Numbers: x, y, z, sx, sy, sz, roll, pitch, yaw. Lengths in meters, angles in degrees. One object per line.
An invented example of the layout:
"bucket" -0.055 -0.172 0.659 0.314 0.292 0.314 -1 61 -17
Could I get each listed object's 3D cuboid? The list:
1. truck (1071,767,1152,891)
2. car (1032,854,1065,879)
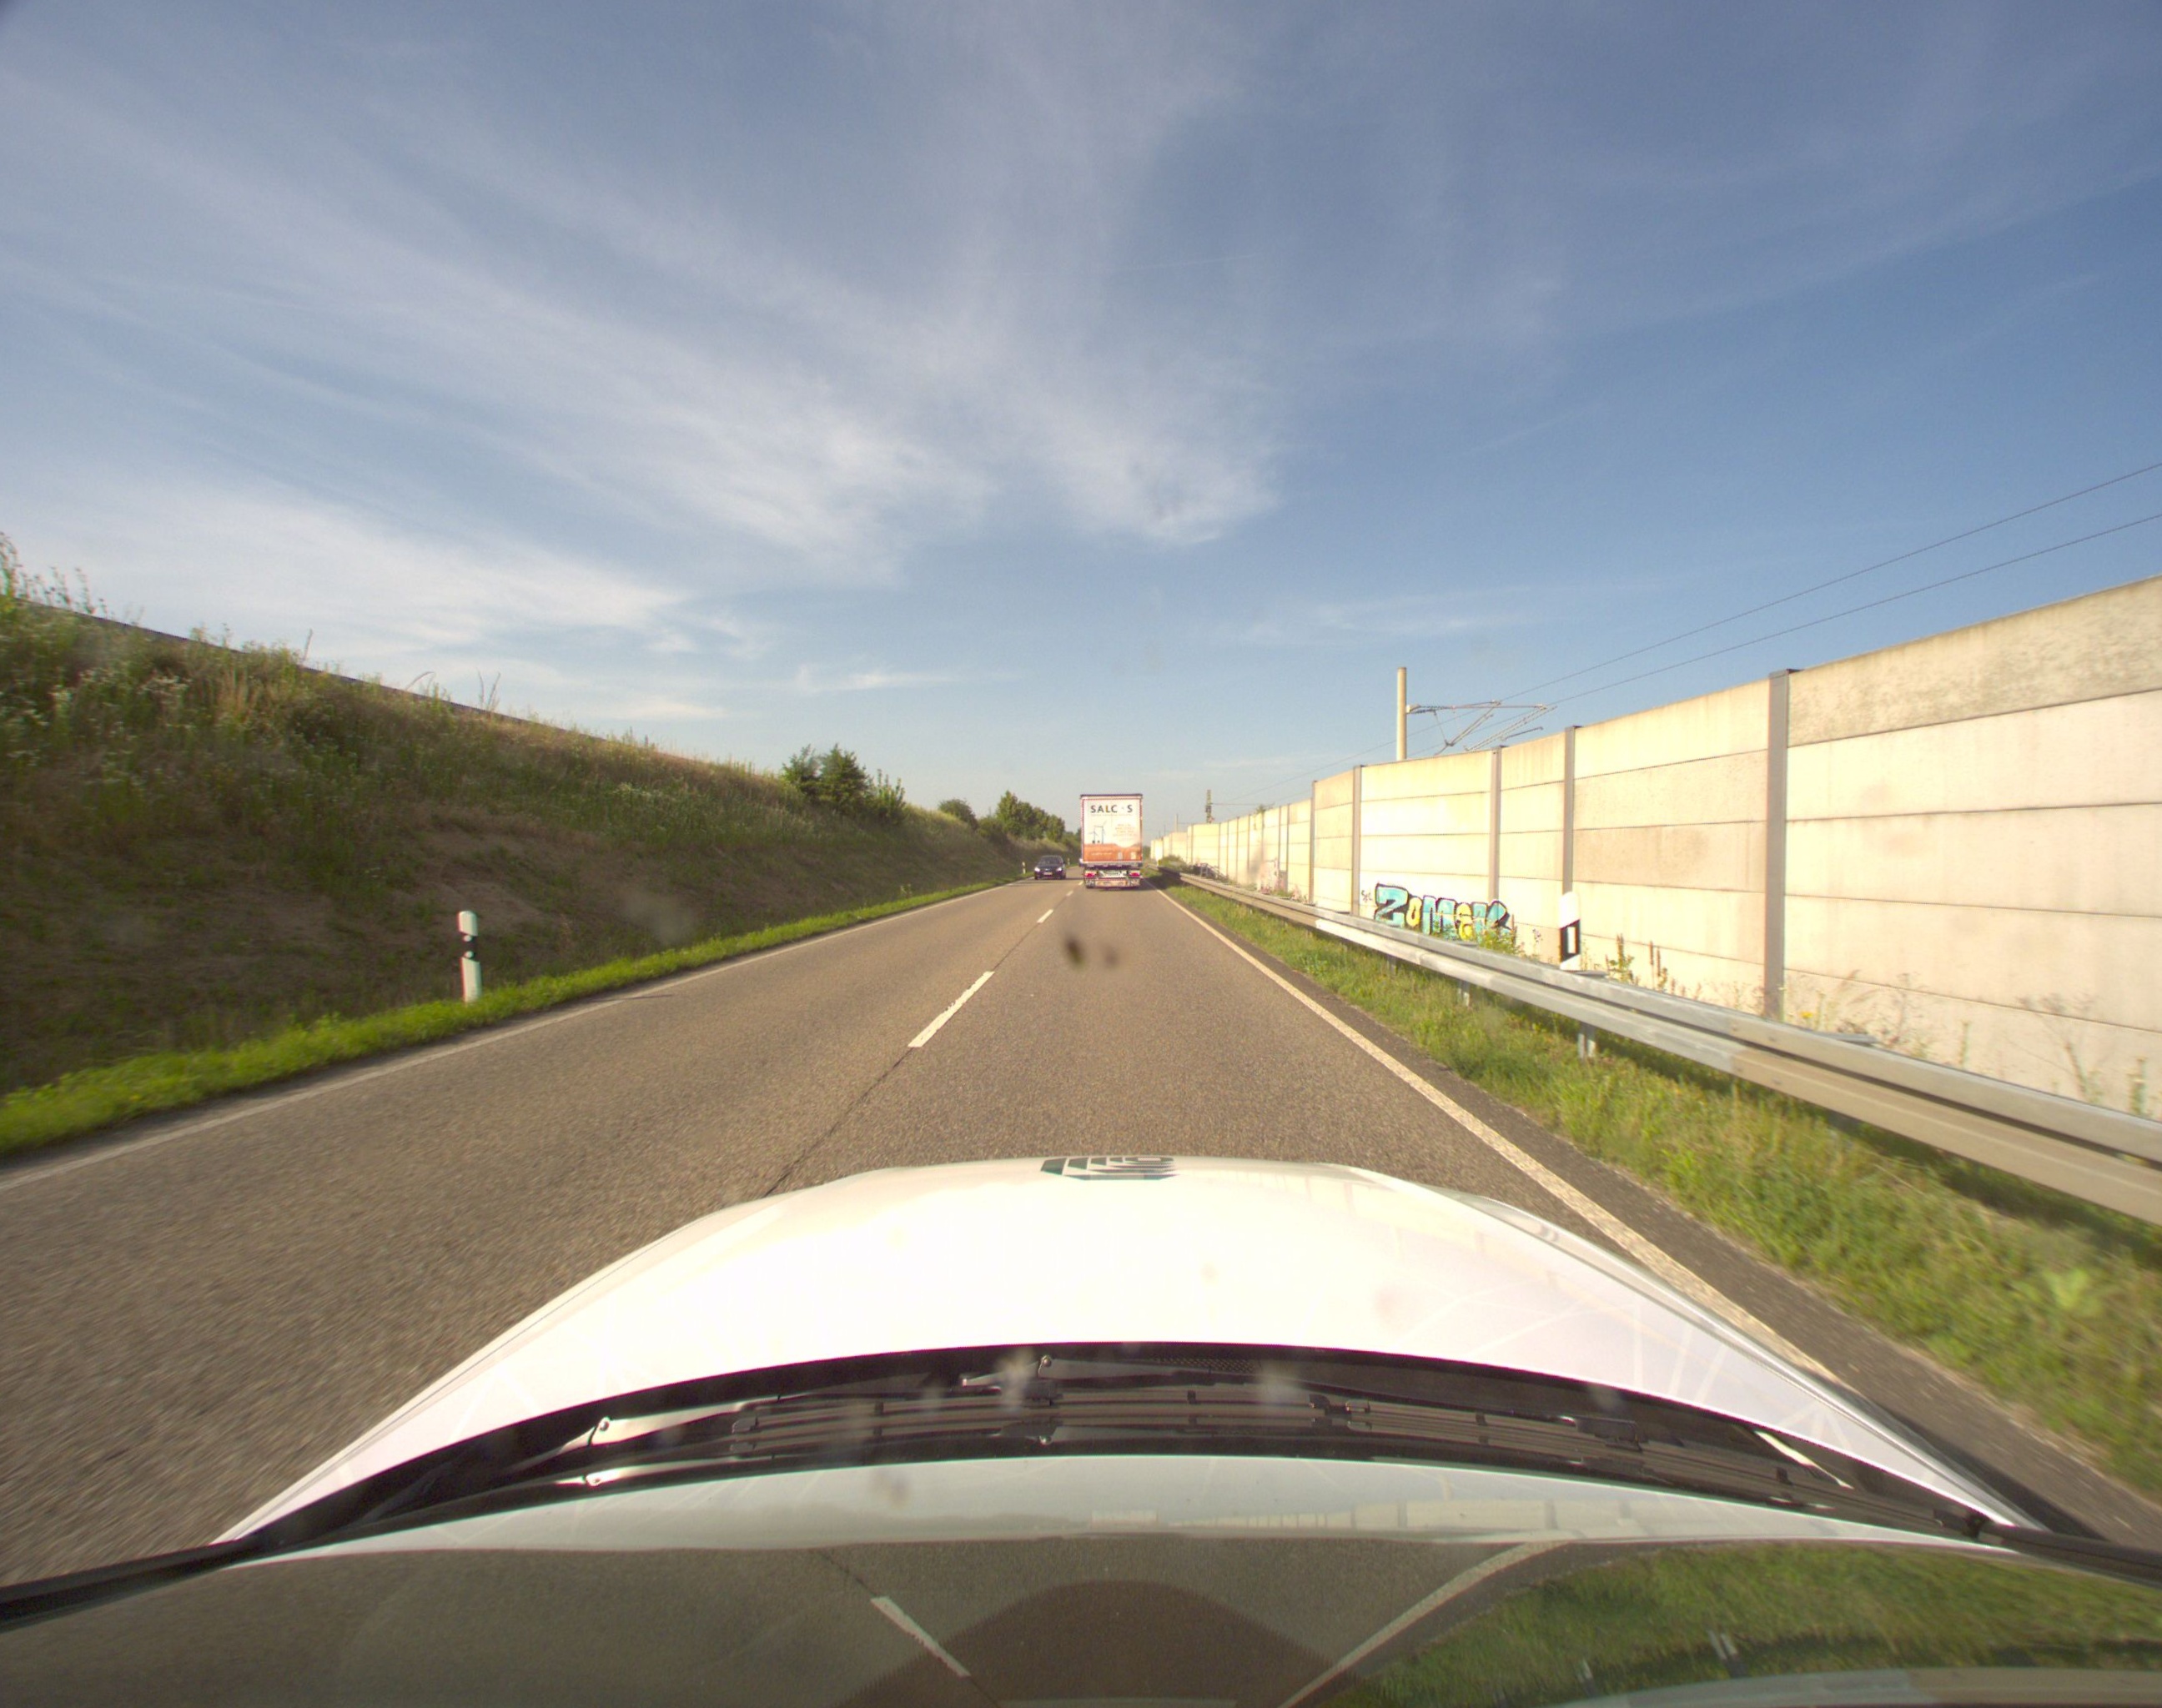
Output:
"truck" 1.510 -1.015 39.632 3.277 5.090 12.044 0 0 2
"car" -1.965 0.732 50.552 1.710 1.453 4.020 -1 0 2
